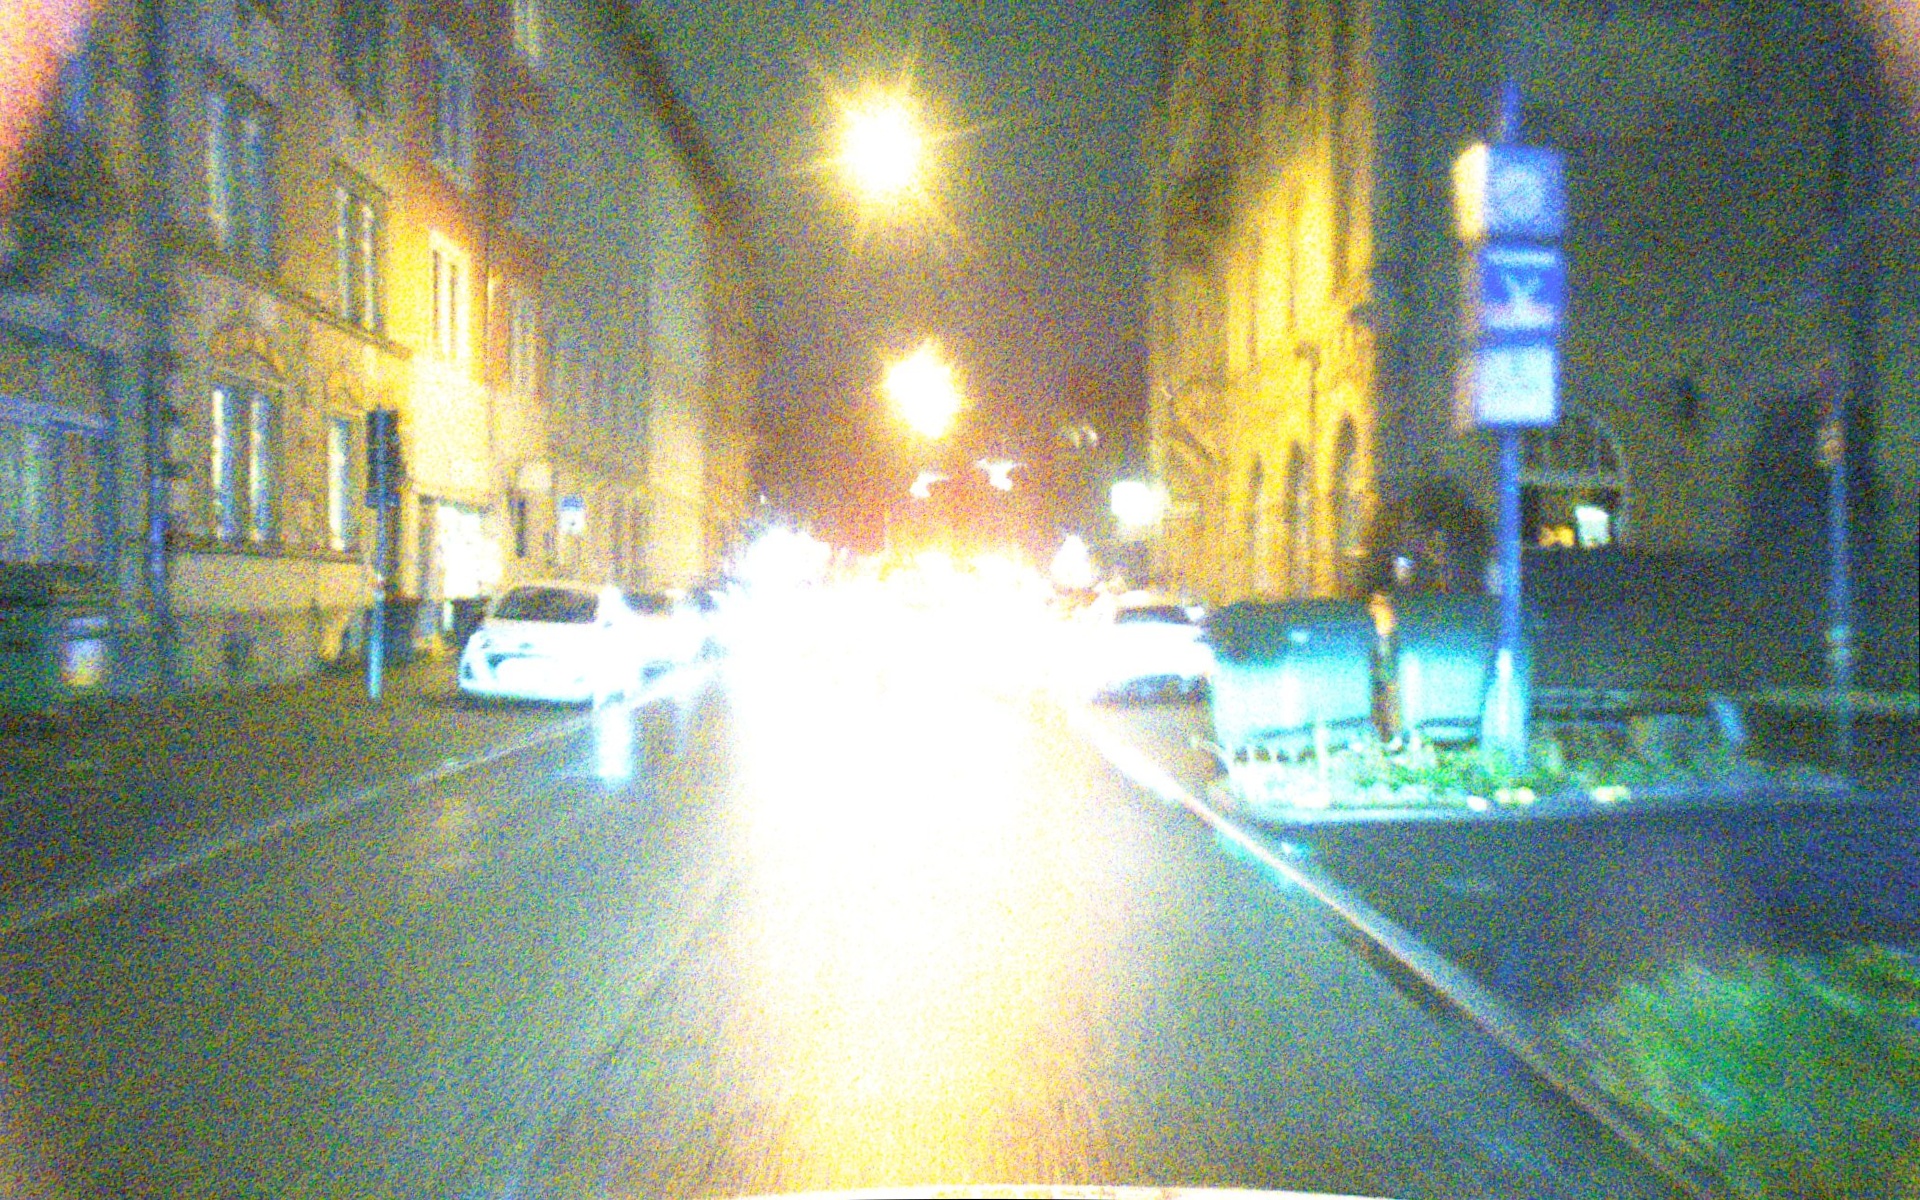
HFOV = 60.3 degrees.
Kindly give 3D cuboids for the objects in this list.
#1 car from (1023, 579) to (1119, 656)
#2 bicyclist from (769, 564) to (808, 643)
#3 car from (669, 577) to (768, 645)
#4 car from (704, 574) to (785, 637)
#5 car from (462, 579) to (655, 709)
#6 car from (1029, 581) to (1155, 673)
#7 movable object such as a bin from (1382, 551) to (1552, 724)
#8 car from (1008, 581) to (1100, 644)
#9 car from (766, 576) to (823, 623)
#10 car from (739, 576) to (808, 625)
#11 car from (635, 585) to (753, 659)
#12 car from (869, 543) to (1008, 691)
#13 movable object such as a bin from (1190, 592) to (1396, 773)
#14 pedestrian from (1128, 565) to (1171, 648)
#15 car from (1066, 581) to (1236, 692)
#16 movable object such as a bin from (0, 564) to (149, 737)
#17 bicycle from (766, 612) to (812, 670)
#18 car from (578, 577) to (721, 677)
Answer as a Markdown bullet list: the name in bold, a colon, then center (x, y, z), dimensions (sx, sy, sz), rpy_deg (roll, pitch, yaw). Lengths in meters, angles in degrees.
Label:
- **car**: center (2.277, 0.327, 34.790), dimensions (1.655, 1.524, 3.890), rpy_deg (0, 1, -1)
- **bicyclist**: center (-3.471, 0.063, 33.545), dimensions (0.704, 1.583, 0.895), rpy_deg (-1, 0, -1)
- **car**: center (-5.715, 0.226, 39.576), dimensions (1.795, 1.507, 4.306), rpy_deg (0, 1, -1)
- **car**: center (-5.720, 0.123, 44.285), dimensions (1.709, 1.616, 3.765), rpy_deg (0, 1, -1)
- **car**: center (-5.163, 0.510, 21.722), dimensions (1.638, 1.517, 3.721), rpy_deg (1, 0, -1)
- **car**: center (2.290, 0.434, 29.521), dimensions (1.656, 1.524, 3.888), rpy_deg (0, 1, -5)
- **movable object such as a bin**: center (4.420, 0.312, 14.510), dimensions (1.281, 1.454, 1.051), rpy_deg (0, 0, 8)
- **car**: center (2.221, 0.272, 40.060), dimensions (1.878, 1.436, 3.999), rpy_deg (0, 1, -2)
- **car**: center (-6.373, -0.059, 64.243), dimensions (1.795, 1.747, 4.594), rpy_deg (0, 1, -1)
- **car**: center (-6.020, -0.010, 53.811), dimensions (1.795, 1.512, 4.594), rpy_deg (0, 1, -1)
- **car**: center (-5.391, 0.405, 34.041), dimensions (1.785, 1.414, 4.425), rpy_deg (0, 1, -1)
- **car**: center (-0.316, 0.208, 25.839), dimensions (1.955, 2.084, 4.694), rpy_deg (0, 1, 0)
- **movable object such as a bin**: center (2.867, 0.666, 14.268), dimensions (1.327, 1.454, 1.185), rpy_deg (0, 0, -37)
- **pedestrian**: center (4.287, 0.140, 37.538), dimensions (0.844, 1.819, 1.083), rpy_deg (-2, 1, 2)
- **car**: center (2.730, 0.475, 24.566), dimensions (1.953, 1.489, 4.416), rpy_deg (0, 1, -1)
- **movable object such as a bin**: center (-8.185, 0.434, 14.926), dimensions (1.079, 1.479, 1.378), rpy_deg (-1, 0, -3)
- **bicycle**: center (-3.445, 0.804, 33.446), dimensions (0.712, 1.091, 2.348), rpy_deg (-1, 0, -1)
- **car**: center (-5.240, 0.410, 28.414), dimensions (1.738, 1.599, 4.134), rpy_deg (0, 1, -1)
